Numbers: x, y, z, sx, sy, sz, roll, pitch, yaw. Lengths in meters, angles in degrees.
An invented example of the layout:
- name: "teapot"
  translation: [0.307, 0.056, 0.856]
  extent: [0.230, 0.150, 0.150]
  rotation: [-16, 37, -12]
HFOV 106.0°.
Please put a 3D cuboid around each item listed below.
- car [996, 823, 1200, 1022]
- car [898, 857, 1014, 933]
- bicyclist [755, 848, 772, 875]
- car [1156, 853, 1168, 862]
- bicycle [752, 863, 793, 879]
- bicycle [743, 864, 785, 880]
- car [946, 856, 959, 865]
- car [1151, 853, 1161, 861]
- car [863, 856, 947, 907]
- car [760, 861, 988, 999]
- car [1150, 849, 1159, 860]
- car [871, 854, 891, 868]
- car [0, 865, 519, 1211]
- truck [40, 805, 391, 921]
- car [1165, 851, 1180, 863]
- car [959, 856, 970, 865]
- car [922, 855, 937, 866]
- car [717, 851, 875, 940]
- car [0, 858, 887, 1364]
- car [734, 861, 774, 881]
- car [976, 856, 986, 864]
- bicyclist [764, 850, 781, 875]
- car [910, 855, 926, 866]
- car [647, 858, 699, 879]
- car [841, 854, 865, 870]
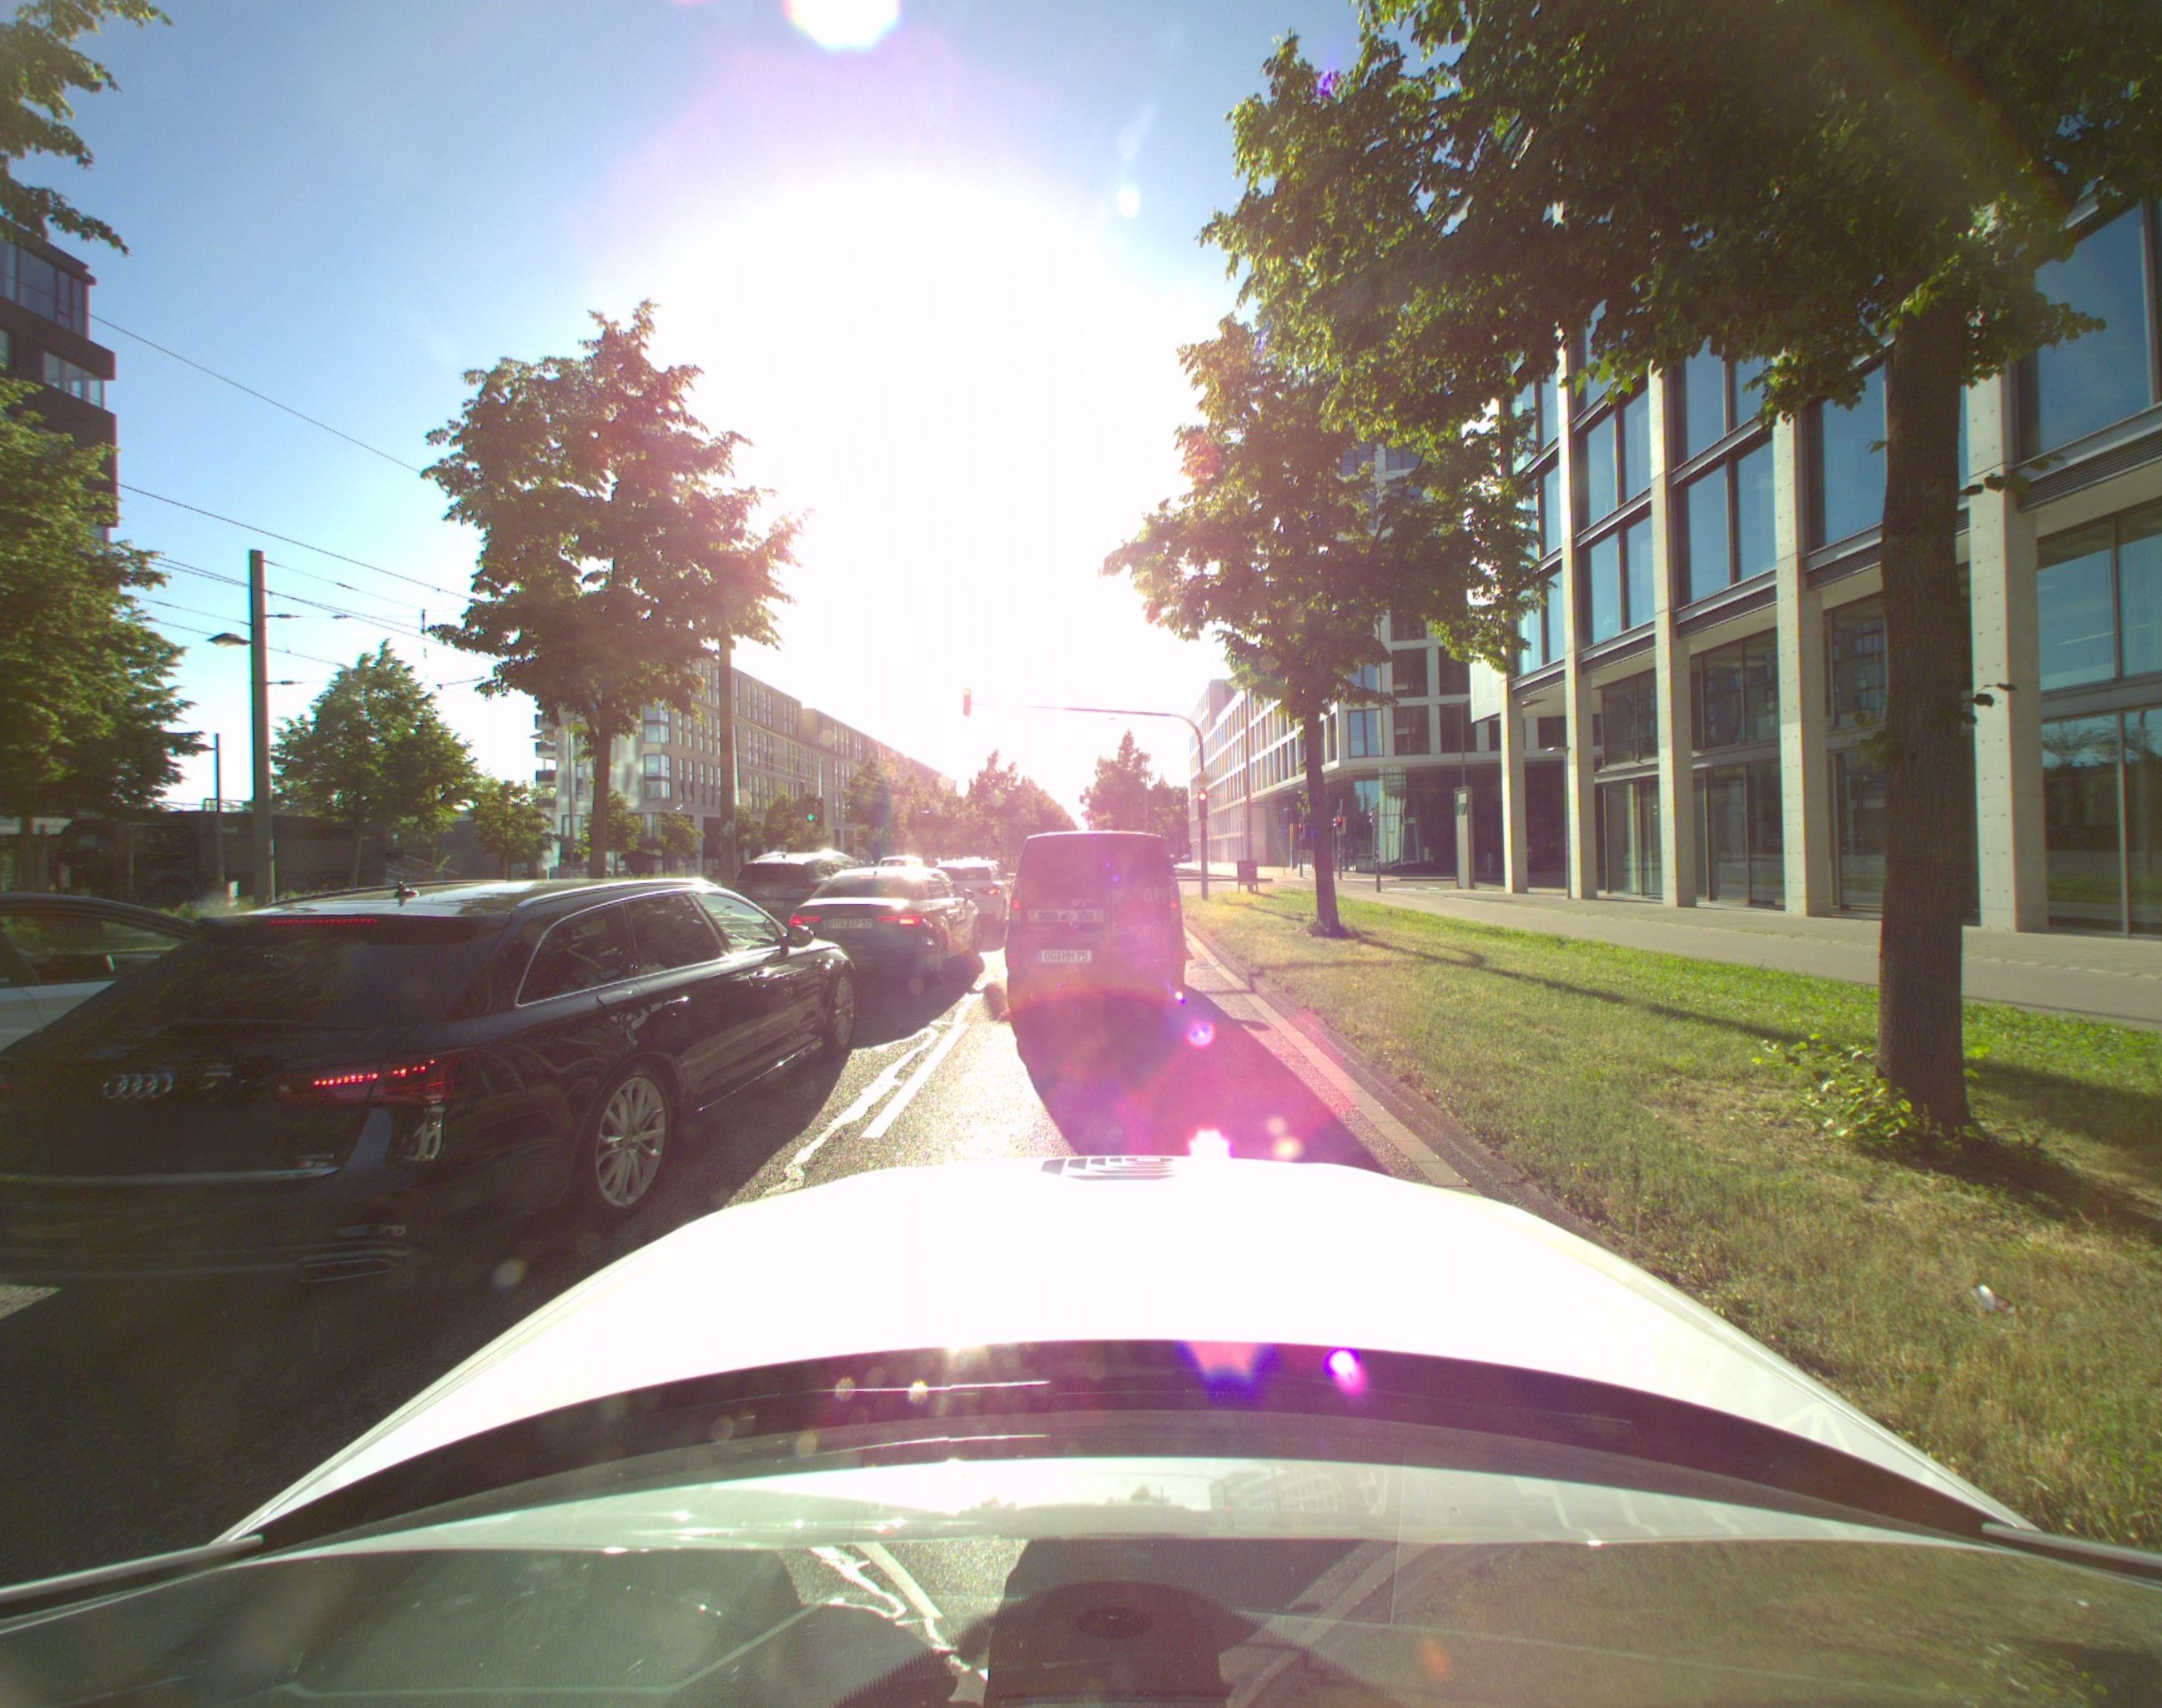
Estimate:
- name: "car"
  translation: [0.215, 0.623, 9.431]
  extent: [1.835, 1.780, 4.002]
  rotation: [-1, 0, 2]
- name: "car"
  translation: [-2.589, 0.802, 17.786]
  extent: [1.797, 1.426, 3.902]
  rotation: [-1, 0, 2]
- name: "bicyclist"
  translation: [-25.191, 0.599, 64.654]
  extent: [0.937, 2.092, 0.817]
  rotation: [-1, 0, -1]
- name: "car"
  translation: [15.968, 0.740, 160.484]
  extent: [1.986, 1.782, 4.002]
  rotation: [-1, 0, 2]
- name: "bicycle"
  translation: [-25.000, 1.403, 66.014]
  extent: [2.934, 1.190, 0.817]
  rotation: [-1, 0, -3]
- name: "bicycle"
  translation: [-25.166, 1.436, 64.638]
  extent: [2.933, 1.190, 0.817]
  rotation: [-1, 0, -1]
- name: "car"
  translation: [-28.898, 1.437, 183.371]
  extent: [1.986, 2.013, 4.002]
  rotation: [-1, 0, 2]
- name: "car"
  translation: [16.510, 0.664, 179.685]
  extent: [1.986, 1.782, 4.002]
  rotation: [-1, 0, 2]
- name: "car"
  translation: [-5.762, 0.862, 27.195]
  extent: [1.794, 1.483, 4.566]
  rotation: [2, 0, -1]
- name: "car"
  translation: [-2.509, 0.852, 11.051]
  extent: [1.835, 1.426, 4.340]
  rotation: [-1, 0, 2]
- name: "car"
  translation: [17.894, 0.157, 198.187]
  extent: [1.986, 2.497, 4.988]
  rotation: [-1, 0, 2]
- name: "car"
  translation: [-30.753, 1.060, 125.147]
  extent: [1.986, 2.013, 4.002]
  rotation: [-1, 0, 2]
- name: "car"
  translation: [-5.548, 0.834, 4.354]
  extent: [1.792, 1.447, 4.570]
  rotation: [-1, 0, 2]
- name: "truck"
  translation: [-33.628, 0.309, 32.654]
  extent: [2.880, 3.853, 10.217]
  rotation: [-1, 0, 2]
- name: "car"
  translation: [14.323, 0.518, 127.727]
  extent: [1.986, 1.782, 4.002]
  rotation: [-1, 0, 2]
- name: "car"
  translation: [-28.608, 1.542, 200.190]
  extent: [1.986, 2.013, 4.002]
  rotation: [-1, 0, 2]
- name: "car"
  translation: [-29.692, 1.281, 159.388]
  extent: [1.986, 2.013, 4.002]
  rotation: [-1, 0, 2]
- name: "car"
  translation: [-5.428, 0.696, 16.172]
  extent: [1.796, 1.447, 4.562]
  rotation: [-1, 1, -4]
- name: "car"
  translation: [-2.758, 0.796, 4.963]
  extent: [1.868, 1.484, 4.967]
  rotation: [-1, 0, 1]
- name: "car"
  translation: [-31.796, 1.582, 79.252]
  extent: [1.986, 1.814, 4.372]
  rotation: [-1, 0, 2]
- name: "car"
  translation: [-27.440, 1.702, 223.819]
  extent: [1.986, 2.013, 4.002]
  rotation: [-1, 0, 2]
- name: "bicyclist"
  translation: [-25.030, 0.693, 66.035]
  extent: [0.996, 1.947, 0.817]
  rotation: [-1, 0, -2]
- name: "car"
  translation: [-30.105, 1.220, 150.291]
  extent: [1.986, 2.013, 4.002]
  rotation: [-1, 0, 2]
- name: "car"
  translation: [-31.043, 1.075, 62.080]
  extent: [1.758, 1.520, 4.002]
  rotation: [-1, 0, 2]
- name: "car"
  translation: [-30.879, 1.054, 110.601]
  extent: [1.986, 2.013, 4.002]
  rotation: [-1, 0, 2]
